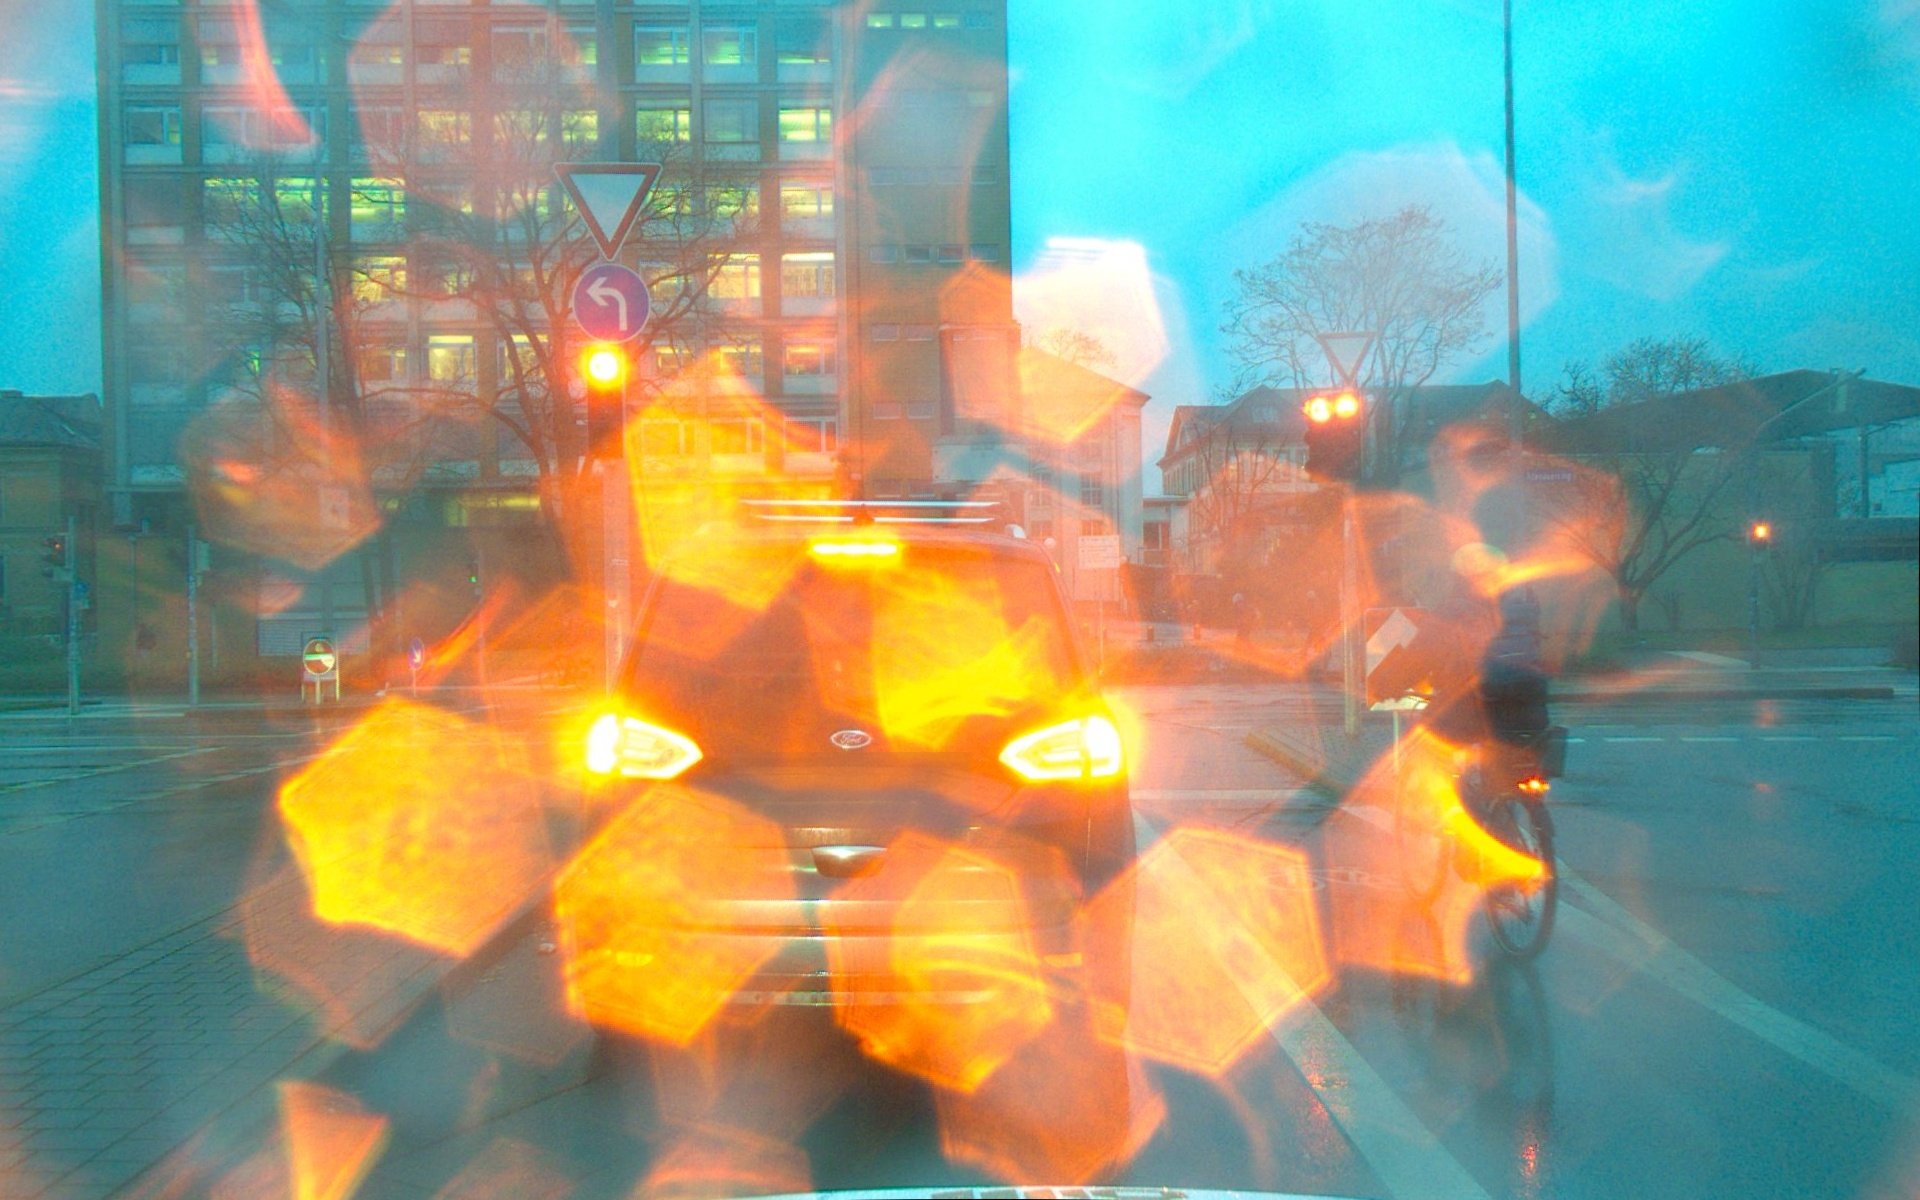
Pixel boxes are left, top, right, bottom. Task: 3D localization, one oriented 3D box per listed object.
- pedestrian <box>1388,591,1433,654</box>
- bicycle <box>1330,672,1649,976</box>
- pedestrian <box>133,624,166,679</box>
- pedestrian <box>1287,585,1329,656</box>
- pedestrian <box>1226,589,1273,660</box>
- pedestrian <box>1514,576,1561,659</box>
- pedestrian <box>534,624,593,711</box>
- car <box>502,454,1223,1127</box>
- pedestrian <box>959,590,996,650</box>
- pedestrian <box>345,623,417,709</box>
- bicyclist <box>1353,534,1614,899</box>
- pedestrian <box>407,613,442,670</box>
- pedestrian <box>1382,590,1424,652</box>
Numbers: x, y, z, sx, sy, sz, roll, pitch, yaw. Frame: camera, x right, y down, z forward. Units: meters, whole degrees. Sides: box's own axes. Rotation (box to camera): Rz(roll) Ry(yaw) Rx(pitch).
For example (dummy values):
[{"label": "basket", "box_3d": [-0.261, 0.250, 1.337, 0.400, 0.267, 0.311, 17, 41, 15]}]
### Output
[{"label": "pedestrian", "box_3d": [11.550, 0.558, 42.418, 0.905, 1.559, 1.043, -2, 0, 5]}, {"label": "bicycle", "box_3d": [2.277, 0.912, 7.400, 0.767, 1.094, 1.956, 1, 0, -1]}, {"label": "pedestrian", "box_3d": [-25.722, 1.633, 52.470, 0.625, 1.718, 0.637, -2, 0, 16]}, {"label": "pedestrian", "box_3d": [9.204, 0.526, 43.805, 0.975, 1.831, 0.920, -2, 0, 8]}, {"label": "pedestrian", "box_3d": [7.455, 0.625, 42.604, 1.111, 1.750, 0.982, -2, 0, 10]}, {"label": "pedestrian", "box_3d": [15.280, 0.445, 43.786, 0.865, 2.150, 0.896, -2, 0, 0]}, {"label": "pedestrian", "box_3d": [-9.467, 1.609, 39.529, 0.910, 2.013, 0.958, -2, 1, 30]}, {"label": "car", "box_3d": [-0.291, 0.536, 6.547, 1.953, 1.821, 3.999, 1, 0, -1]}, {"label": "pedestrian", "box_3d": [0.502, 0.567, 47.291, 0.751, 1.656, 0.714, -2, 0, -29]}, {"label": "pedestrian", "box_3d": [-13.549, 1.534, 38.744, 0.982, 1.874, 1.138, -1, 3, 29]}, {"label": "bicyclist", "box_3d": [2.270, 0.477, 7.314, 0.767, 1.478, 1.133, 1, 0, -1]}, {"label": "pedestrian", "box_3d": [-15.927, 1.221, 49.184, 0.743, 1.656, 0.558, -2, 0, 14]}, {"label": "pedestrian", "box_3d": [11.655, 0.544, 43.517, 0.874, 1.559, 0.886, -2, 0, 4]}]
